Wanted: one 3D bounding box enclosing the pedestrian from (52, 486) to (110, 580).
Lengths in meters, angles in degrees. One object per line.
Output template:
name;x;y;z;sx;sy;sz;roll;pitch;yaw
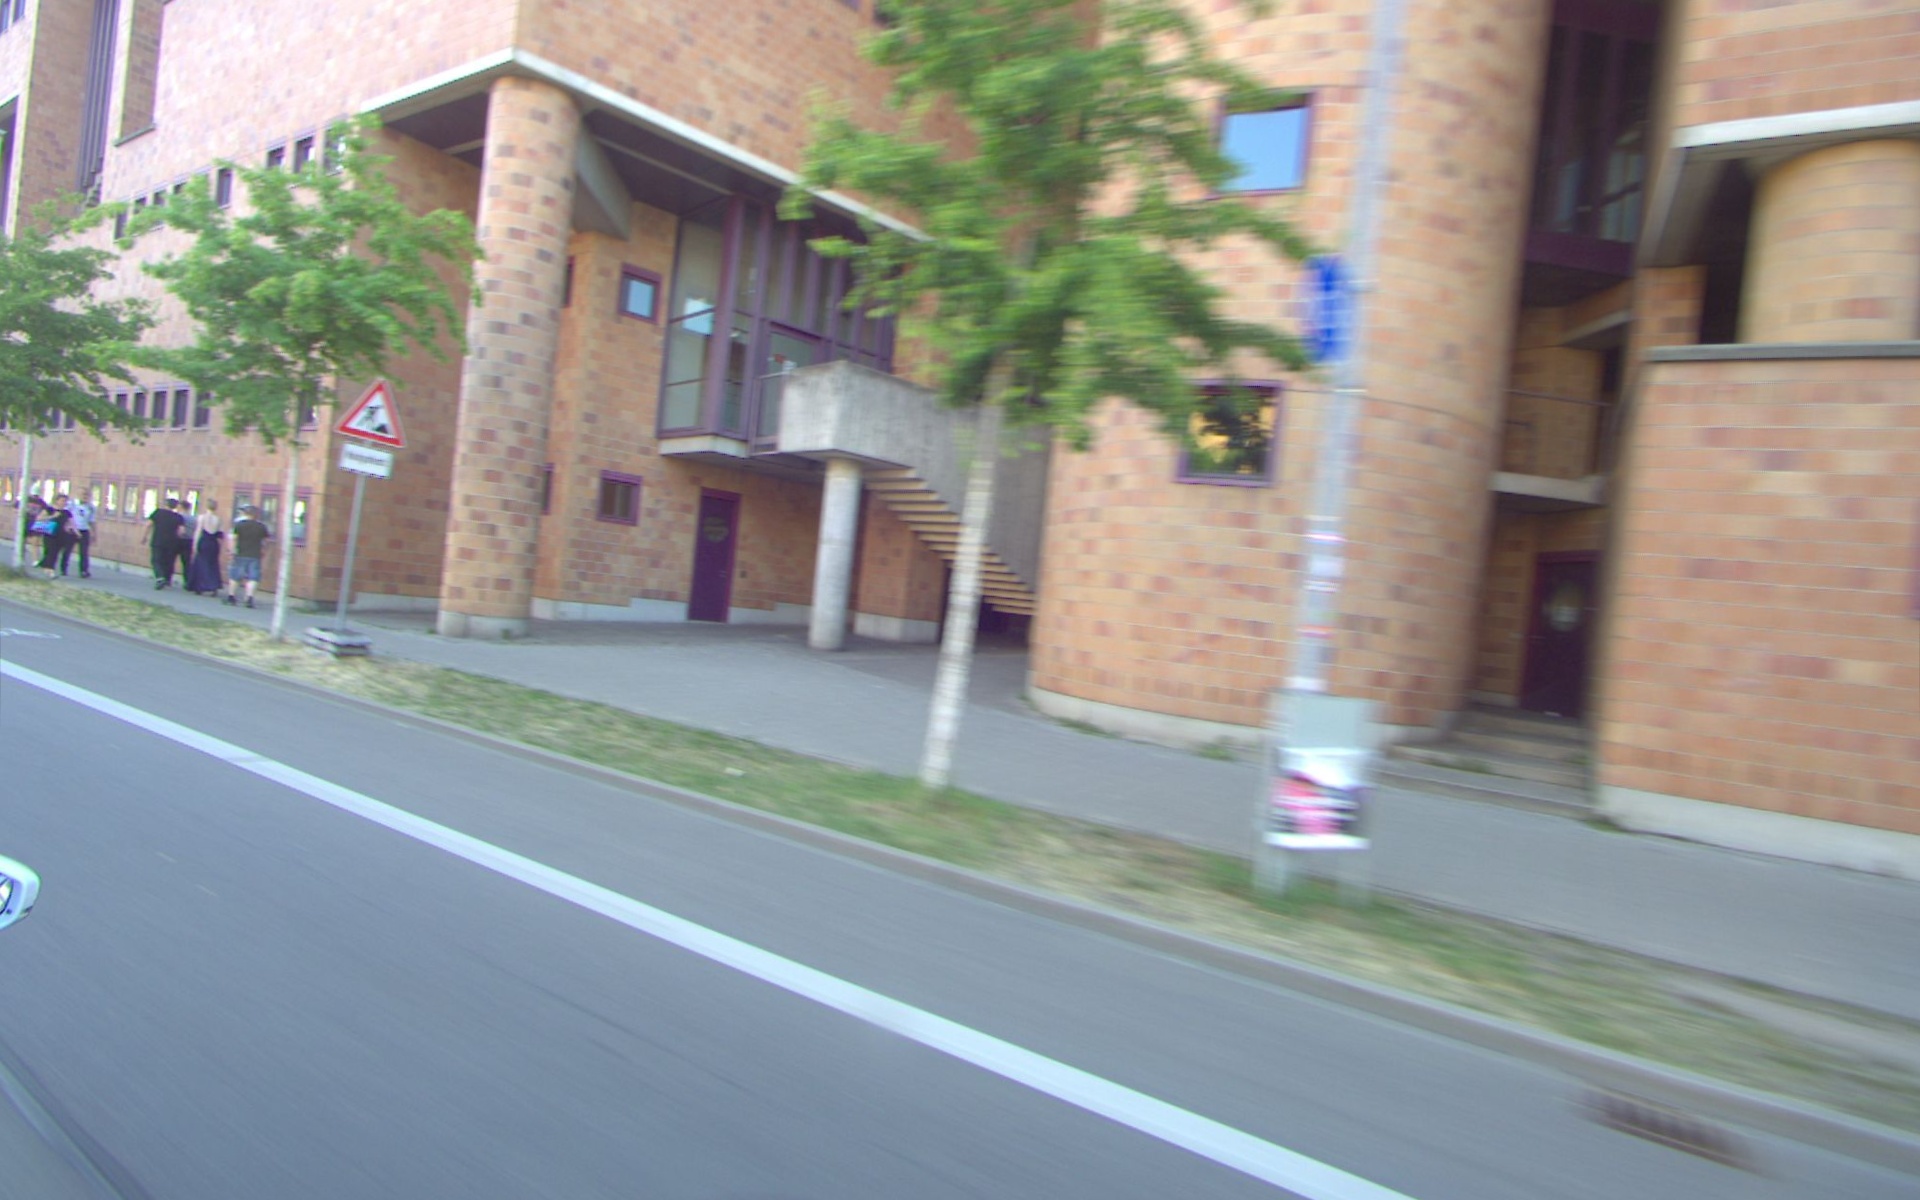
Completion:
pedestrian;-17.219;-1.305;19.712;0.630;1.735;0.572;6;1;28

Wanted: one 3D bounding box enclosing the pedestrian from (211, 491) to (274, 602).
pedestrian;-12.242;-0.906;17.167;0.728;1.778;0.688;5;1;-38

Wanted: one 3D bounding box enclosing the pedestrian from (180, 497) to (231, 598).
pedestrian;-13.875;-0.971;18.494;0.686;1.778;0.535;7;1;44

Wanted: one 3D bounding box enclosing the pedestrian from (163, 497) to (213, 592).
pedestrian;-15.130;-1.086;19.716;0.415;1.778;0.536;7;1;32

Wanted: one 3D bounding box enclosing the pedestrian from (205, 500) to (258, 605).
pedestrian;-12.889;-0.842;17.792;0.686;1.778;0.535;7;1;44

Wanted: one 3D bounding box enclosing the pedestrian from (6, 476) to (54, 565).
pedestrian;-19.468;-1.649;21.057;0.415;1.778;0.537;7;1;32

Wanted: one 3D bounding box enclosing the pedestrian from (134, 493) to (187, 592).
pedestrian;-15.016;-1.066;18.896;0.457;1.778;0.536;7;1;32

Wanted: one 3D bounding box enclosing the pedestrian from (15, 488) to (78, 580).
pedestrian;-17.128;-1.233;18.866;0.691;1.625;0.517;6;1;20
